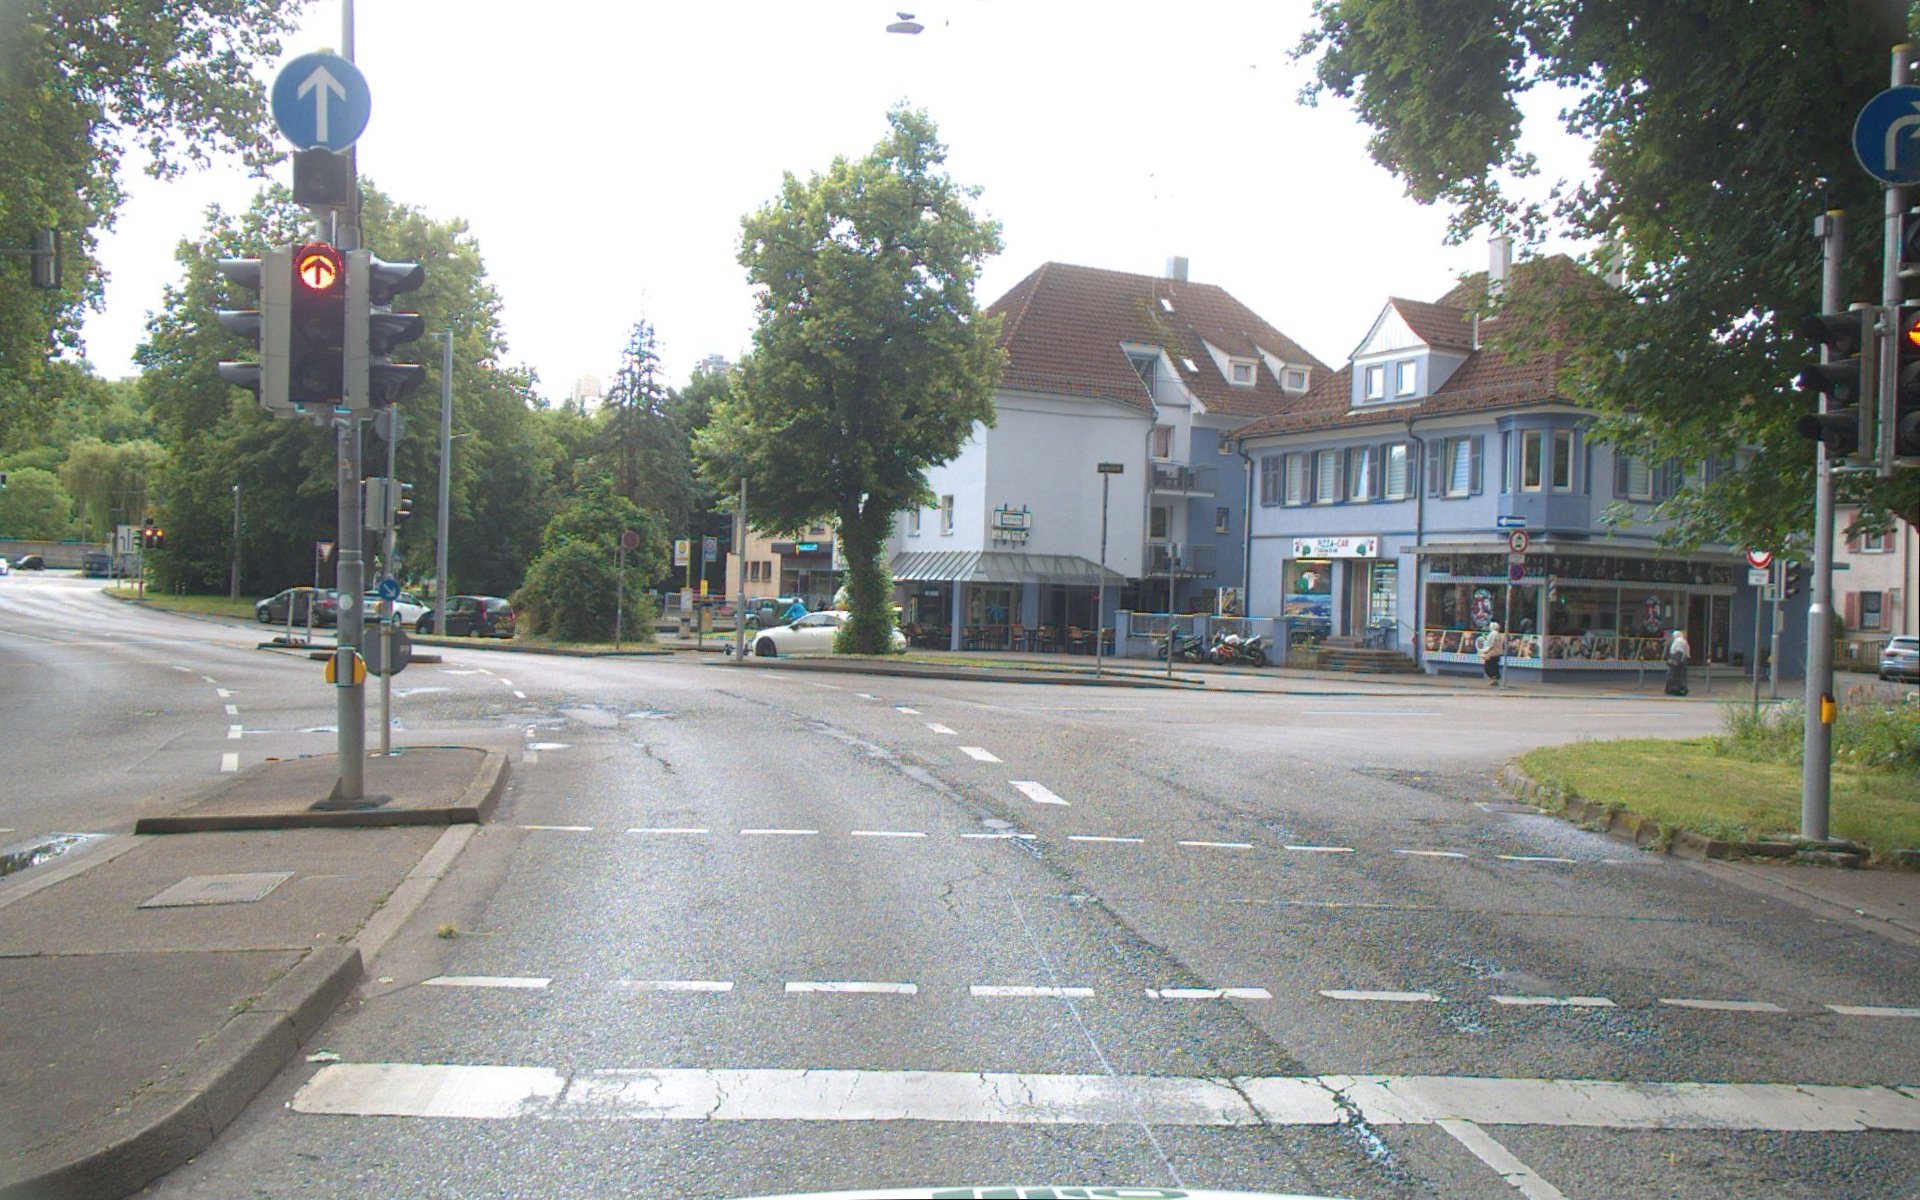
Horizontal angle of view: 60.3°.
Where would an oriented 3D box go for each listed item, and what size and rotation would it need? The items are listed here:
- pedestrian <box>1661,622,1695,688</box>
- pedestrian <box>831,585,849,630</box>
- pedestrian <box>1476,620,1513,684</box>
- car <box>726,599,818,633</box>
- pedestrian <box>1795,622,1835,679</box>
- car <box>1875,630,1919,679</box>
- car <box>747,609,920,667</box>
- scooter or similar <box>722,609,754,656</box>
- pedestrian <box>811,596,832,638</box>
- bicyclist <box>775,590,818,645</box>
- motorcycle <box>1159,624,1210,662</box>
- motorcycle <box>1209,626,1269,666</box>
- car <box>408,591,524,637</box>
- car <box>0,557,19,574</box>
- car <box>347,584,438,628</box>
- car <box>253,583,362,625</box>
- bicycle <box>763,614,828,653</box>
[{"bbox_3d":[17.430,1.332,40.164,0.681,1.587,0.665,0,-1,30],"label":"pedestrian"},{"bbox_3d":[-4.286,0.268,59.109,0.531,1.587,0.468,0,-1,13],"label":"pedestrian"},{"bbox_3d":[13.591,1.322,42.048,0.717,1.587,0.767,0,-1,30],"label":"pedestrian"},{"bbox_3d":[-8.578,0.729,75.482,3.880,1.467,1.742,1,0,-21],"label":"car"},{"bbox_3d":[23.974,1.410,46.398,0.659,1.587,0.743,1,-1,-15],"label":"pedestrian"},{"bbox_3d":[29.701,1.692,51.693,1.849,1.415,3.608,1,0,28],"label":"car"},{"bbox_3d":[-3.529,1.021,45.686,4.618,1.435,1.896,1,0,35],"label":"car"},{"bbox_3d":[-5.698,0.828,42.511,0.433,1.195,1.439,1,0,8],"label":"scooter or similar"},{"bbox_3d":[-6.769,0.821,80.738,0.823,2.049,1.052,1,0,-15],"label":"pedestrian"},{"bbox_3d":[-5.123,0.544,51.866,0.968,1.680,0.915,1,0,34],"label":"bicyclist"},{"bbox_3d":[6.817,1.288,50.213,1.430,1.107,0.522,1,0,35],"label":"motorcycle"},{"bbox_3d":[8.170,1.340,48.463,1.595,1.107,0.625,1,0,32],"label":"motorcycle"},{"bbox_3d":[-15.911,0.444,53.266,3.252,1.376,1.778,1,0,27],"label":"car"},{"bbox_3d":[-88.877,-3.187,153.754,2.971,1.442,1.492,0,-2,40],"label":"car"},{"bbox_3d":[-22.730,0.254,66.407,1.821,1.668,3.757,1,0,10],"label":"car"},{"bbox_3d":[-25.005,0.148,63.424,3.695,1.491,1.622,1,0,18],"label":"car"},{"bbox_3d":[-5.154,1.036,51.894,1.912,1.169,0.873,1,0,34],"label":"bicycle"}]
